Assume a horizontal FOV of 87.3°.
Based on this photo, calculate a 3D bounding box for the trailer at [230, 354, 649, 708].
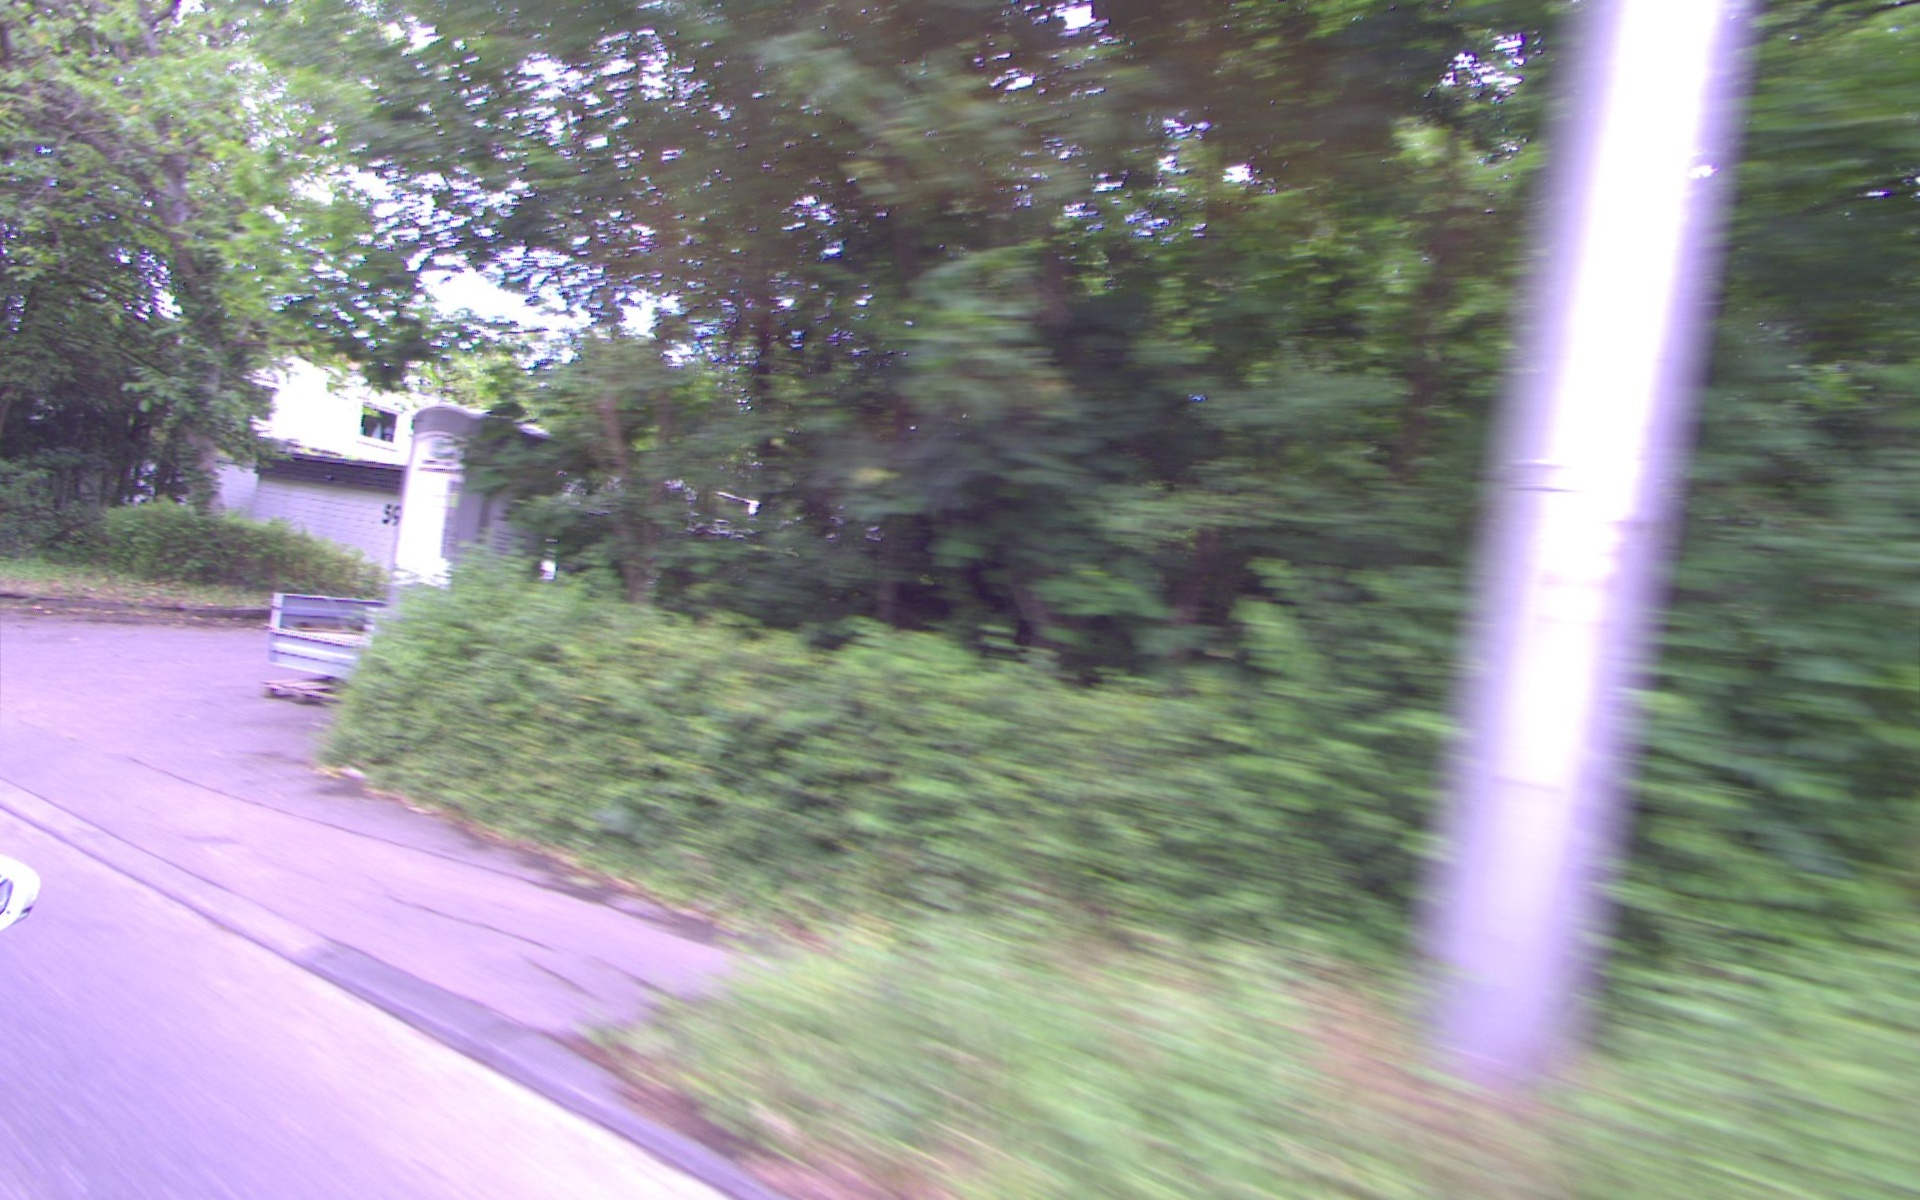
[{"bbox_3d":[-4.974,-0.526,10.039,1.565,2.934,3.125,7,-1,26],"label":"trailer"}]
